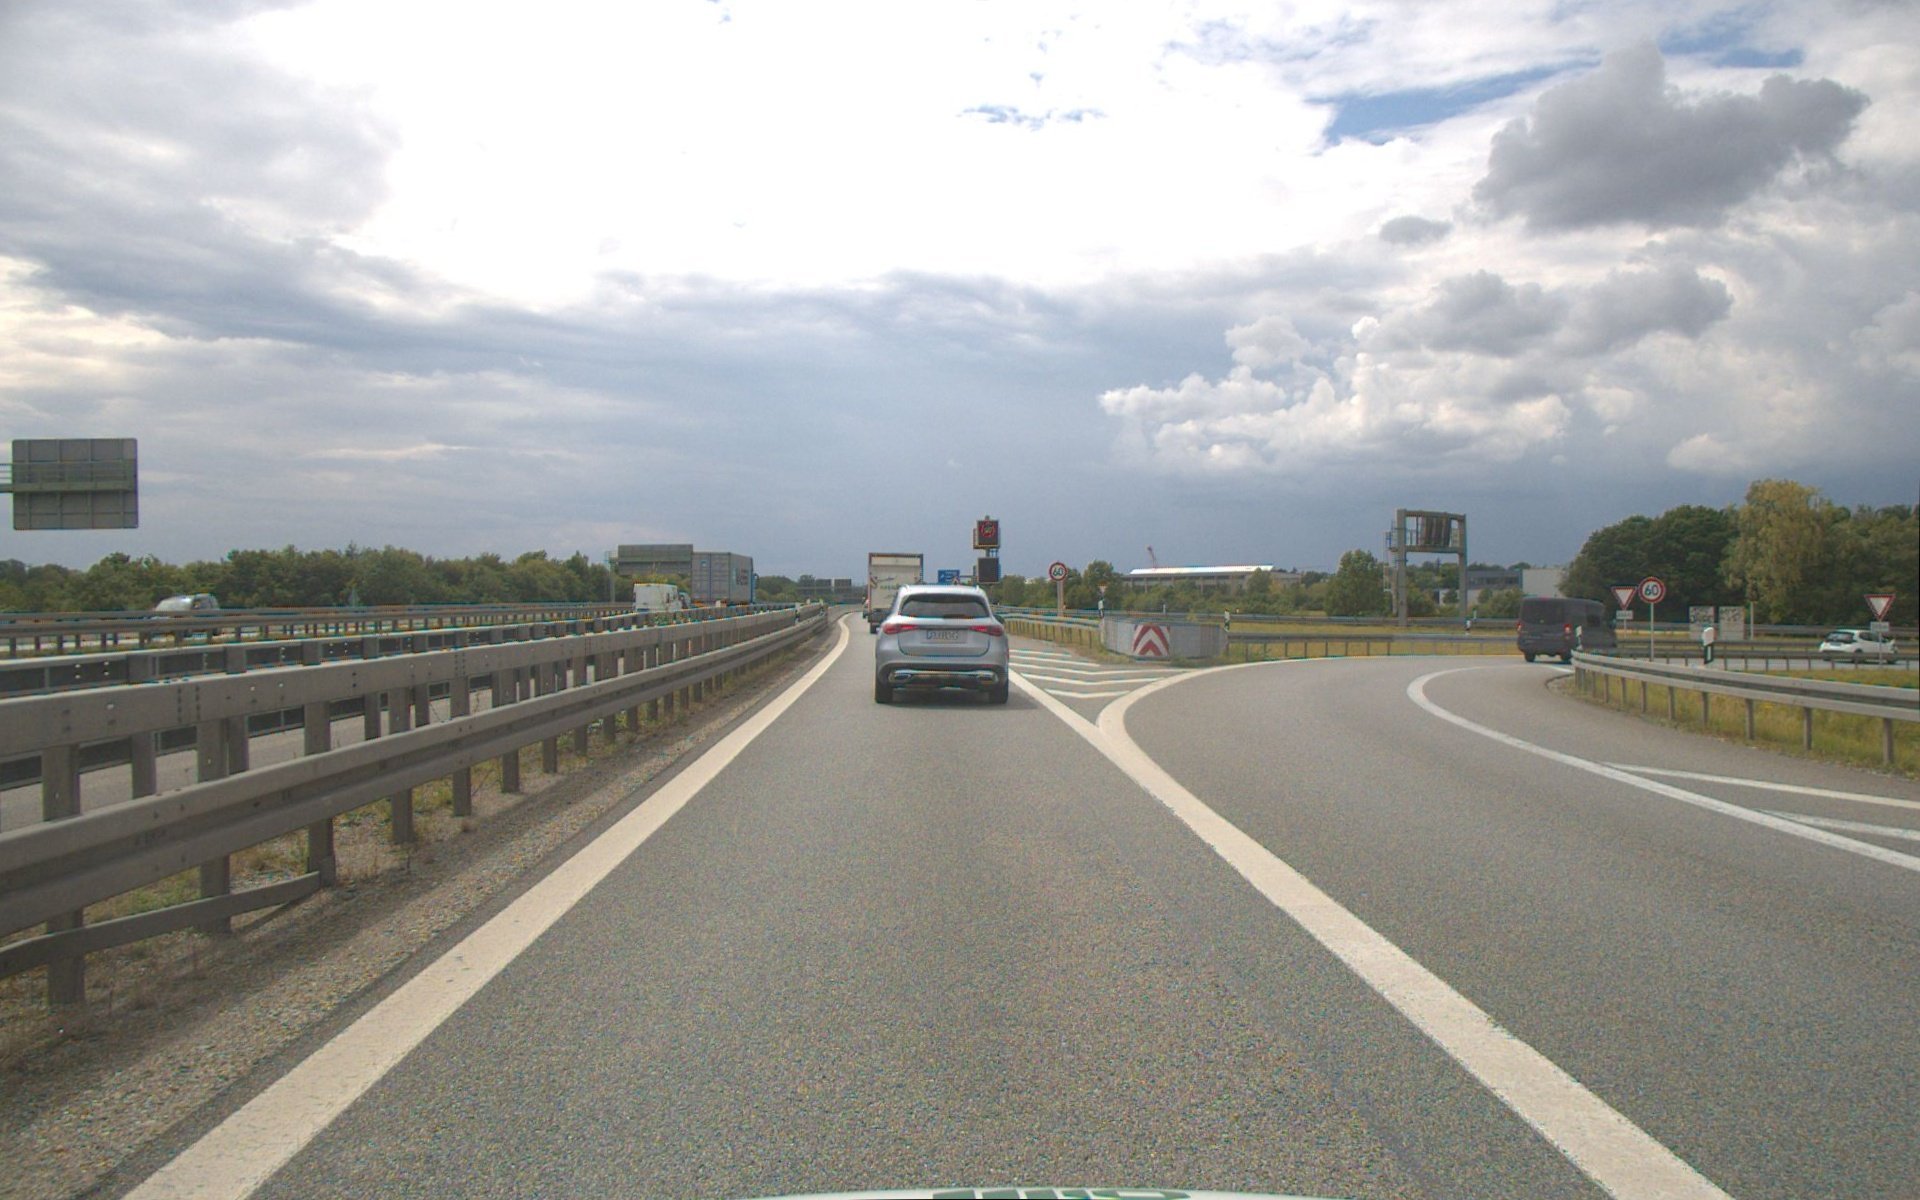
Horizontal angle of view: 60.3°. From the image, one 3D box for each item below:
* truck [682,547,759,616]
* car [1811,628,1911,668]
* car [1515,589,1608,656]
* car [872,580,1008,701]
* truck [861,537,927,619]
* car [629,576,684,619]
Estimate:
[{"bbox_3d":[-15.288,-1.285,106.803,3.119,4.089,16.070,1,1,-2],"label":"truck"},{"bbox_3d":[42.103,2.243,77.309,3.927,1.739,1.989,0,1,-19],"label":"car"},{"bbox_3d":[22.023,0.766,60.466,1.876,2.301,4.629,1,1,37],"label":"car"},{"bbox_3d":[-0.283,0.512,23.899,1.782,1.541,4.000,1,1,-1],"label":"car"},{"bbox_3d":[-2.657,-0.859,69.096,2.517,3.180,8.632,1,0,-1],"label":"truck"},{"bbox_3d":[-15.069,-0.149,82.419,1.953,2.048,4.374,1,1,-1],"label":"car"}]
